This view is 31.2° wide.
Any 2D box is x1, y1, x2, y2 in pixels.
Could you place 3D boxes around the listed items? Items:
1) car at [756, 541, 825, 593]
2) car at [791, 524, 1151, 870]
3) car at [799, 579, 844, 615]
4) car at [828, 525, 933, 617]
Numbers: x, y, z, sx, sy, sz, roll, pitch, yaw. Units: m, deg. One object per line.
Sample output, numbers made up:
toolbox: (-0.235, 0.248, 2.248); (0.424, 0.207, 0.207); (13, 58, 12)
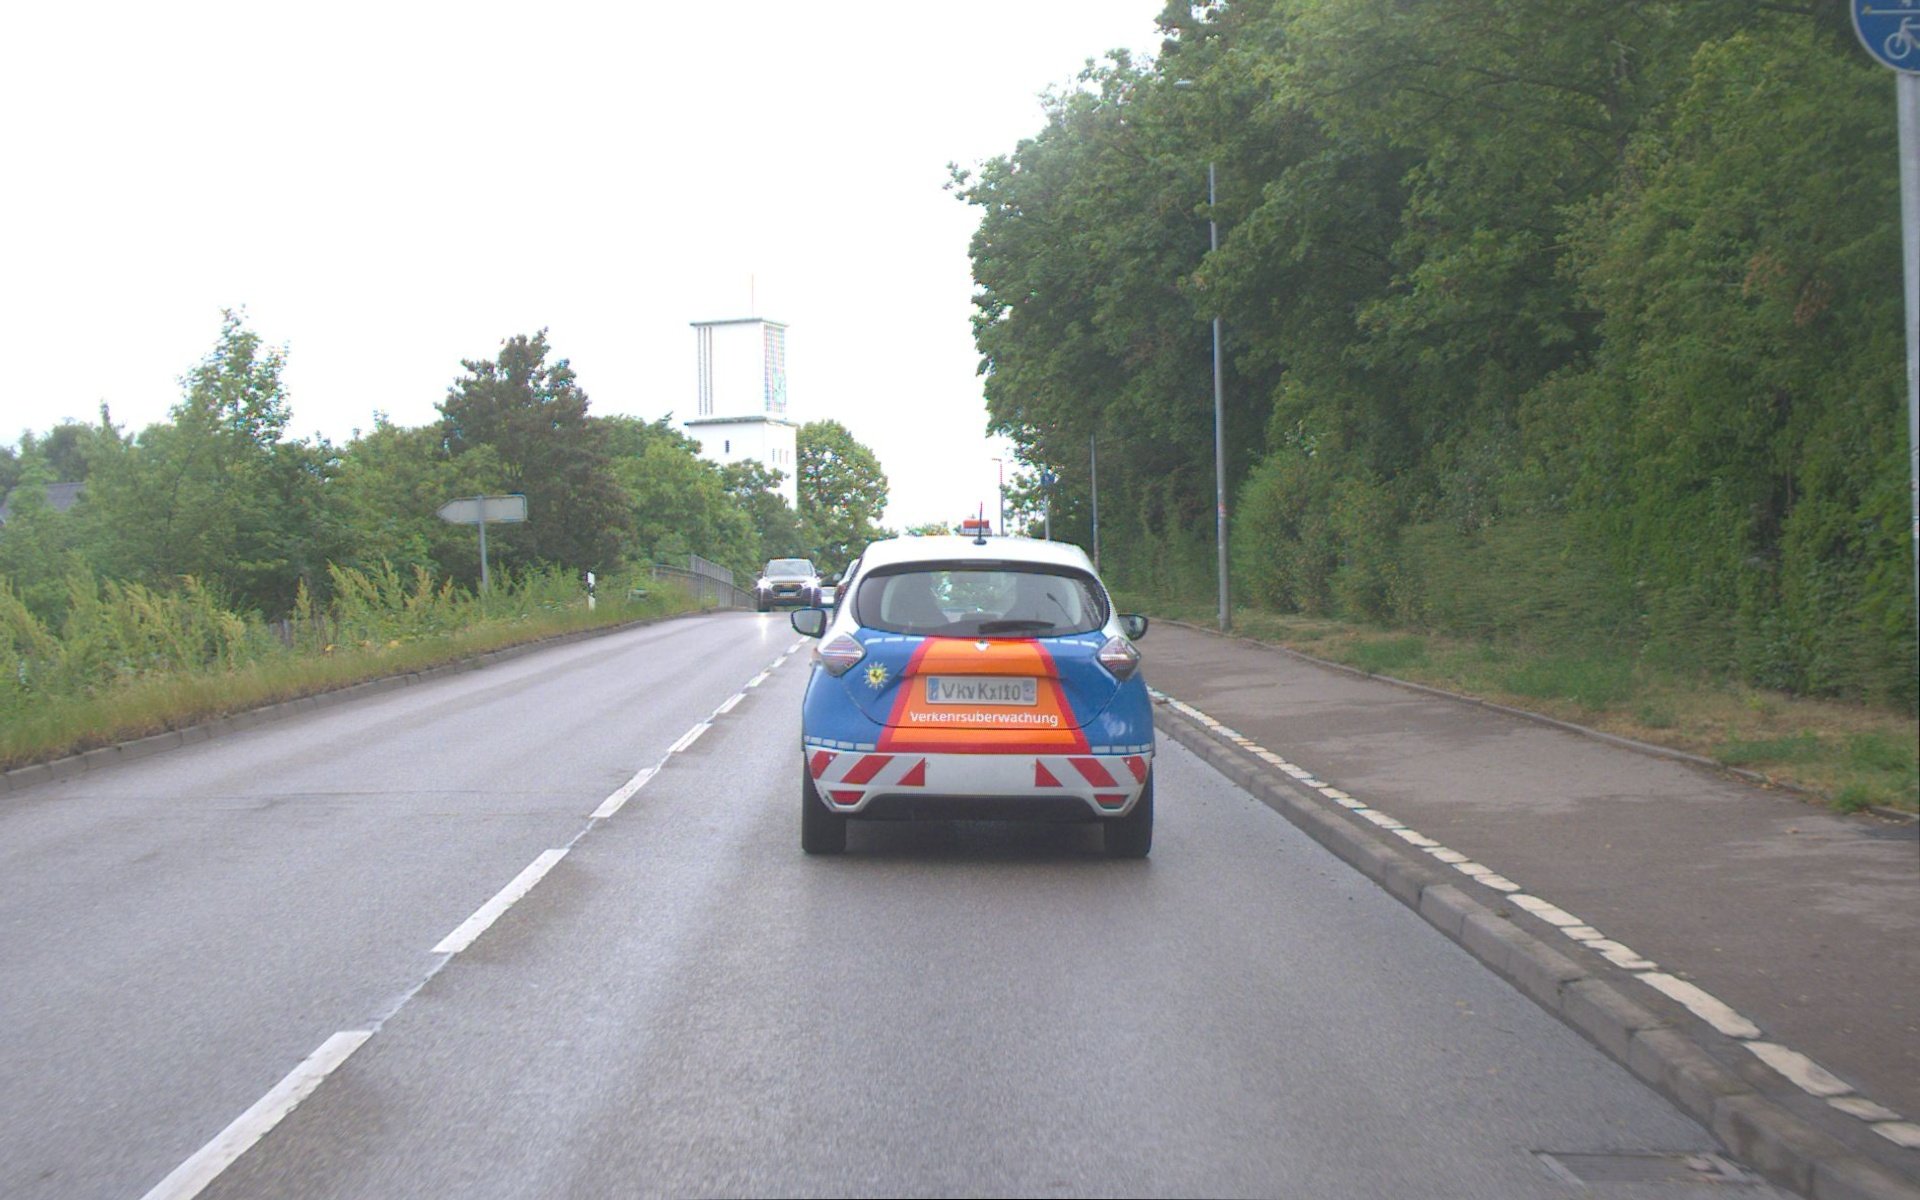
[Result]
car: (-5.224, -1.043, 106.393); (1.869, 1.580, 4.414); (0, 1, 1)
car: (0.022, 0.460, 17.737); (1.657, 1.587, 3.568); (-1, 0, -1)
car: (-6.008, -0.134, 149.077); (1.861, 1.498, 4.728); (0, 1, -1)
car: (-1.490, -0.519, 63.109); (1.802, 1.584, 3.563); (-2, 0, -3)
